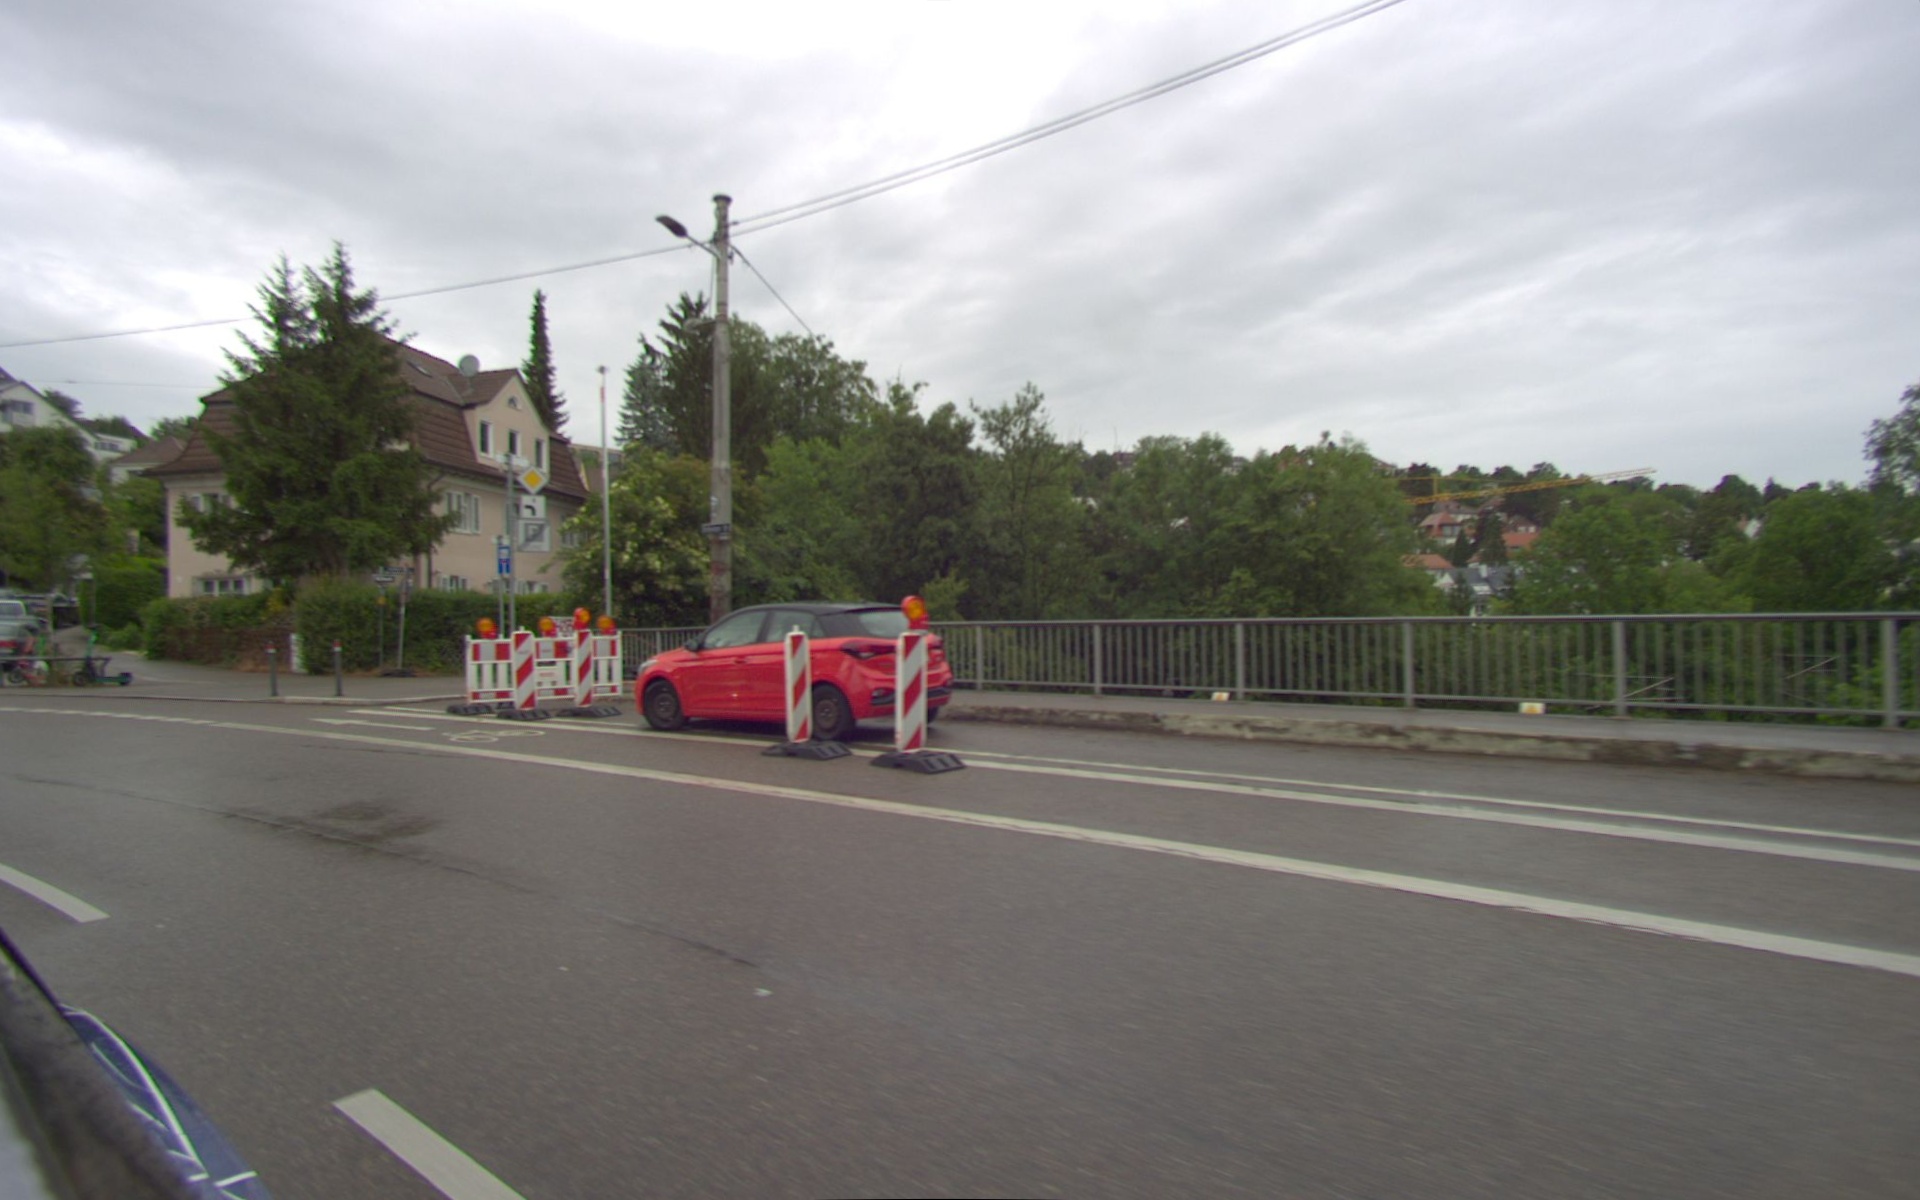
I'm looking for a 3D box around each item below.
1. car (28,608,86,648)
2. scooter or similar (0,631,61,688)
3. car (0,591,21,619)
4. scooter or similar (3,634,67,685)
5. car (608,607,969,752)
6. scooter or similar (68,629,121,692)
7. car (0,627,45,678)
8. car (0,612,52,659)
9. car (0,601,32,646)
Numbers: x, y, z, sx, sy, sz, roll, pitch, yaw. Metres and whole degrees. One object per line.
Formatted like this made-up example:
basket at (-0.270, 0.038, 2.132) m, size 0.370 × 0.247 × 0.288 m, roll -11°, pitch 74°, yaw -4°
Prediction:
car at (-43.357, 1.335, 48.650) m, size 1.969 × 1.718 × 4.006 m, roll 2°, pitch 0°, yaw -41°
scooter or similar at (-19.957, 1.252, 21.688) m, size 0.242 × 1.173 × 1.029 m, roll 0°, pitch -1°, yaw 23°
car at (-55.168, 0.354, 57.025) m, size 1.850 × 1.504 × 4.013 m, roll -4°, pitch 3°, yaw -20°
scooter or similar at (-20.410, 1.309, 22.348) m, size 0.242 × 1.077 × 1.028 m, roll 0°, pitch -1°, yaw 25°
car at (-2.062, 0.790, 11.680) m, size 4.125 × 1.409 × 1.671 m, roll 0°, pitch -1°, yaw 34°
scooter or similar at (-17.547, 1.209, 20.535) m, size 0.240 × 1.227 × 1.038 m, roll 0°, pitch -1°, yaw -5°
car at (-26.953, 1.434, 28.144) m, size 1.647 × 1.276 × 4.215 m, roll 1°, pitch -1°, yaw -34°
car at (-30.425, 1.103, 32.584) m, size 1.650 × 1.413 × 4.208 m, roll 1°, pitch -1°, yaw -44°
car at (-39.055, 0.920, 41.097) m, size 1.845 × 1.674 × 4.007 m, roll 2°, pitch 0°, yaw -41°
